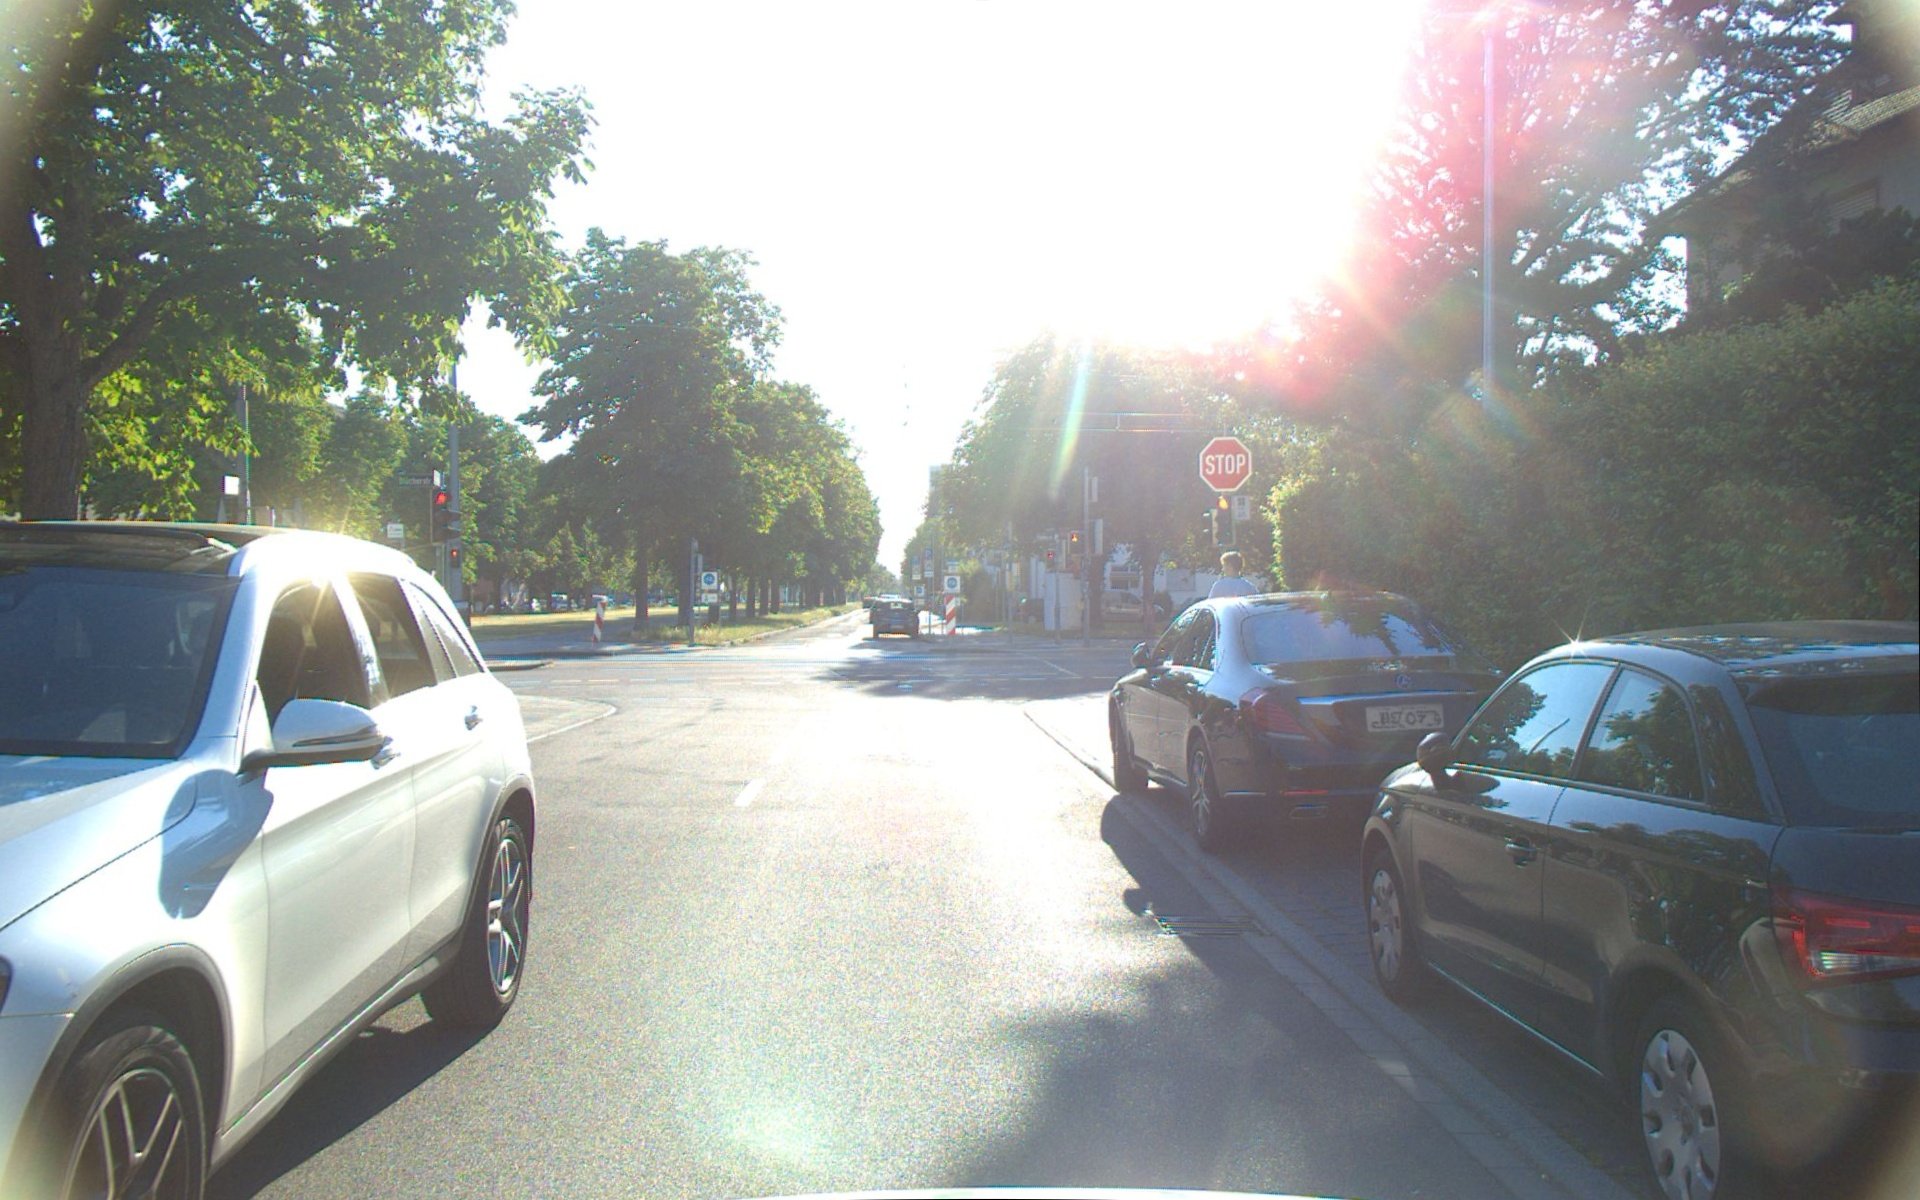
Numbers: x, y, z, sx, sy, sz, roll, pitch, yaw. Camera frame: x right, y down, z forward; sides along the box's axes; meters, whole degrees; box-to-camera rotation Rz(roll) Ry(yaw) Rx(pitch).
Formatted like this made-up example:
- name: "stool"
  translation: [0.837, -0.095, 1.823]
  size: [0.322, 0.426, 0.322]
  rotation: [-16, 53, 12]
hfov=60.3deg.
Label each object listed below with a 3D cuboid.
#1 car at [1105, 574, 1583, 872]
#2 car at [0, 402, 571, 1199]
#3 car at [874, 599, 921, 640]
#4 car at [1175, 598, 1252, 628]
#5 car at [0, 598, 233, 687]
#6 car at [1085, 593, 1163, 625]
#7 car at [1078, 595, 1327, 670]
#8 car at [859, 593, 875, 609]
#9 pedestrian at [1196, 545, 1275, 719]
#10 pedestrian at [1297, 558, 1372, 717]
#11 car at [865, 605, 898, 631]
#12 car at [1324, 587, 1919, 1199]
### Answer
- name: "car"
  translation: [2.265, 0.657, 11.212]
  size: [1.822, 1.569, 4.869]
  rotation: [0, 0, -4]
- name: "car"
  translation: [-2.396, 0.547, 4.240]
  size: [1.853, 1.706, 4.423]
  rotation: [1, 0, -2]
- name: "car"
  translation: [-2.300, 0.696, 61.754]
  size: [1.607, 1.476, 3.307]
  rotation: [1, 0, 0]
- name: "car"
  translation: [12.765, 0.660, 83.308]
  size: [3.593, 1.452, 1.529]
  rotation: [0, 0, -7]
- name: "car"
  translation: [-15.063, 0.745, 29.420]
  size: [3.623, 1.514, 1.735]
  rotation: [1, 0, -14]
- name: "car"
  translation: [8.239, 0.439, 83.325]
  size: [3.704, 1.552, 1.743]
  rotation: [0, 1, -2]
- name: "car"
  translation: [4.886, 0.654, 33.548]
  size: [4.678, 1.459, 1.810]
  rotation: [1, 0, -10]
- name: "car"
  translation: [-12.480, 0.136, 222.432]
  size: [2.091, 2.049, 3.900]
  rotation: [1, 0, -1]
- name: "pedestrian"
  translation: [3.079, 0.355, 18.530]
  size: [0.657, 1.898, 0.881]
  rotation: [1, -1, -5]
- name: "pedestrian"
  translation: [4.173, 0.417, 18.467]
  size: [0.656, 1.738, 0.622]
  rotation: [1, 0, -5]
- name: "car"
  translation: [-4.529, 1.024, 95.479]
  size: [1.808, 1.418, 3.827]
  rotation: [1, 0, -1]
- name: "car"
  translation: [2.458, 0.706, 5.128]
  size: [1.608, 1.452, 3.934]
  rotation: [-2, 0, -2]
